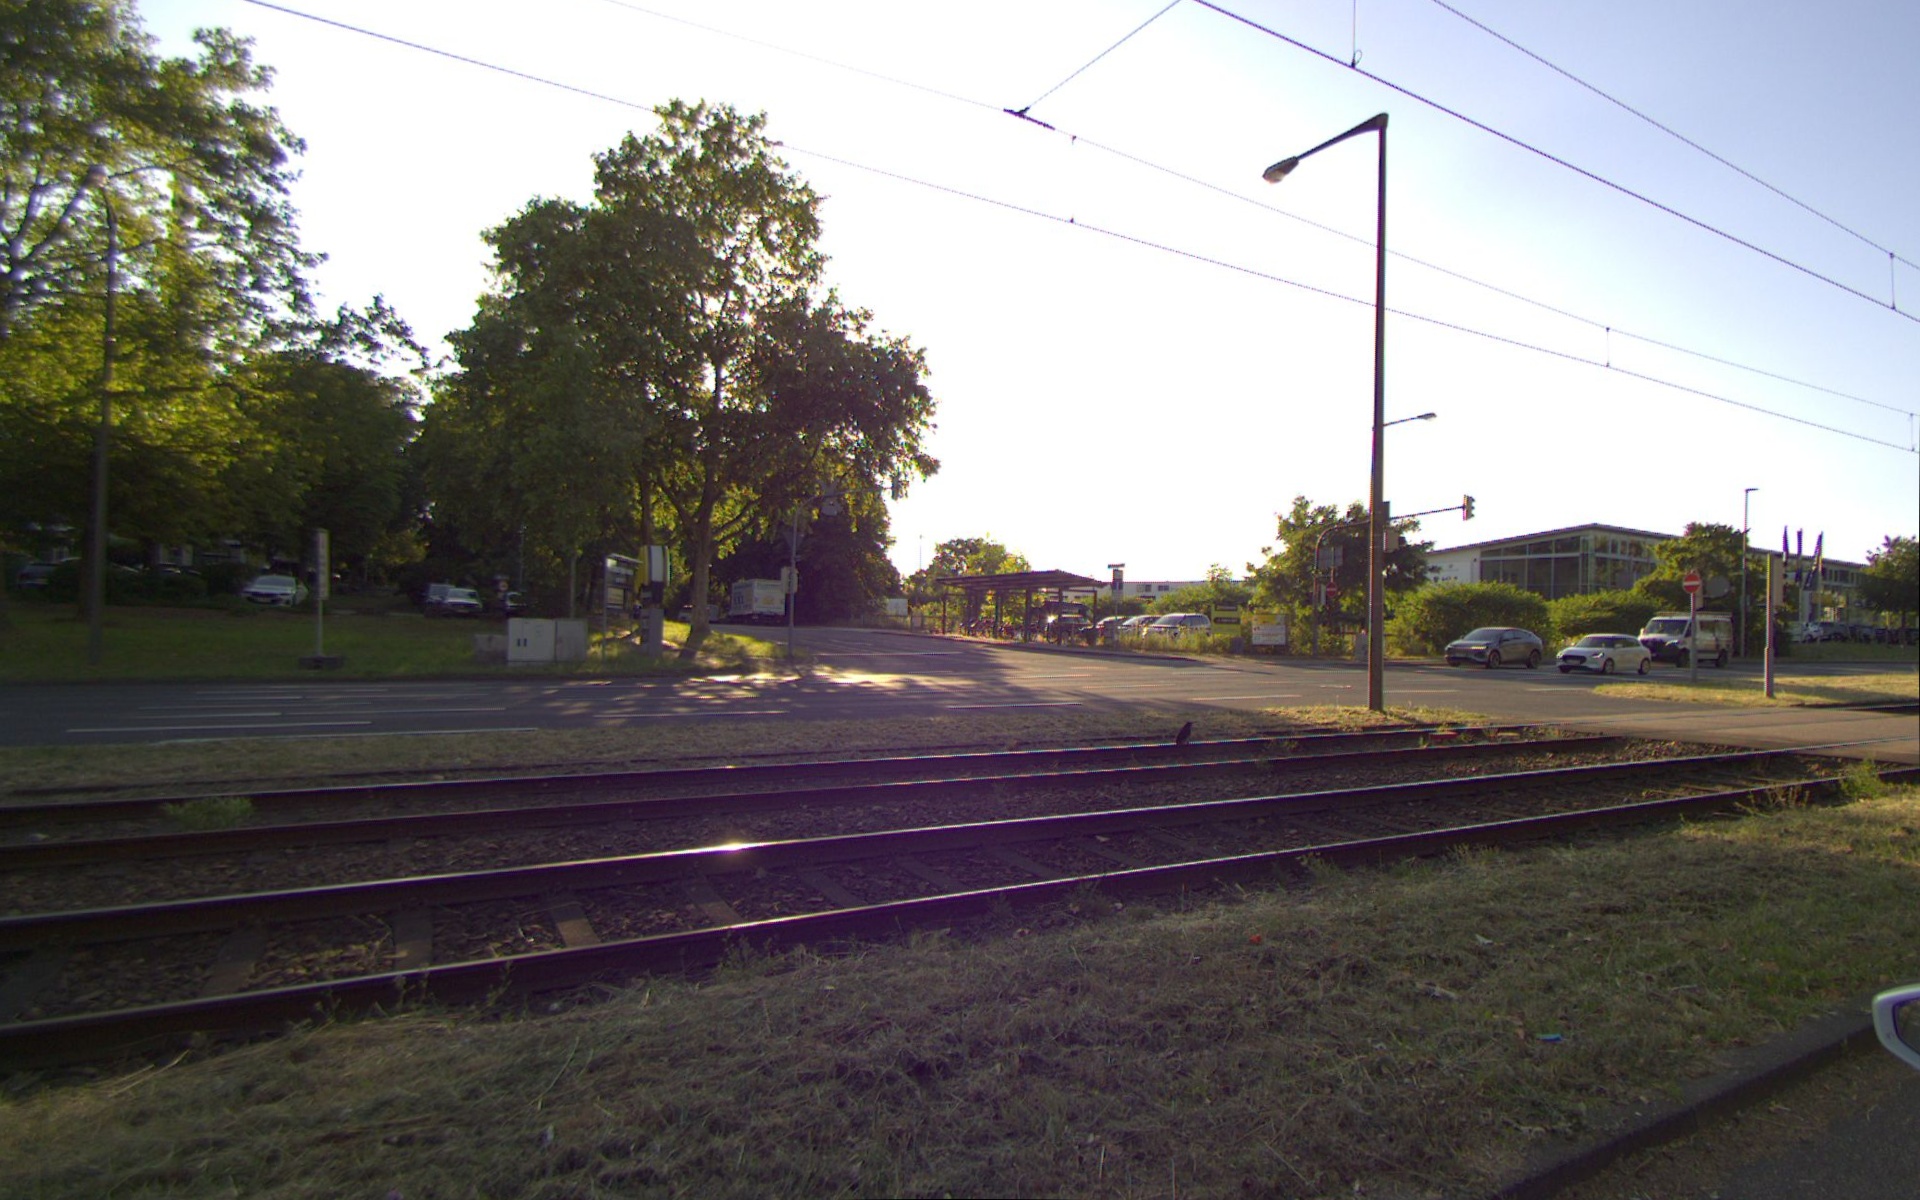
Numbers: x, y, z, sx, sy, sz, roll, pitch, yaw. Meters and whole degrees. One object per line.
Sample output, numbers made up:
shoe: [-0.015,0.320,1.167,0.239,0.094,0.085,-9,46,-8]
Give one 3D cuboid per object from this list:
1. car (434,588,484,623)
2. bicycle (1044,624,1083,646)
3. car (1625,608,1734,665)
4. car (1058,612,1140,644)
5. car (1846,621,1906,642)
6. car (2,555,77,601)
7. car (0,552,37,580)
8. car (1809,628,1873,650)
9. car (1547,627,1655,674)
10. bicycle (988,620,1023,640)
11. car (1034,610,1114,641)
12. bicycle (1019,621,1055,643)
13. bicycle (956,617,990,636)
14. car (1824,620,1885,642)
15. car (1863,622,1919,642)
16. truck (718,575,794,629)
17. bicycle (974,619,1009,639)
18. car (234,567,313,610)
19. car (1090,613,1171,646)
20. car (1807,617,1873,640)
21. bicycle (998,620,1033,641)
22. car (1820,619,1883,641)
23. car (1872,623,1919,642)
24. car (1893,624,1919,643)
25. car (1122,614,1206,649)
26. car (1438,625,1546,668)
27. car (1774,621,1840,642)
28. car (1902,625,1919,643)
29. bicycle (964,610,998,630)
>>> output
car: [-24.285,0.253,48.632,2.019,1.595,4.369,2,0,-28]
bicycle: [5.034,1.705,48.787,1.870,1.052,0.540,2,0,-29]
car: [35.154,1.791,49.037,5.805,2.600,1.994,2,0,-29]
car: [7.967,1.624,57.500,4.271,1.670,2.103,2,0,-31]
car: [78.664,2.704,86.322,3.745,1.588,1.750,2,0,42]
car: [-37.519,-0.882,41.038,1.811,1.710,4.180,2,0,-37]
car: [-56.565,-2.035,58.544,1.782,1.572,3.977,1,-1,43]
car: [69.493,3.056,79.268,3.745,1.588,1.750,2,0,42]
car: [24.416,1.908,38.260,3.953,1.639,1.861,2,0,-30]
bicycle: [2.462,1.628,54.453,1.870,1.052,0.540,2,0,-29]
car: [6.723,1.528,59.359,4.271,1.670,2.103,2,0,-31]
bicycle: [3.958,1.654,51.579,1.870,1.052,0.540,2,0,-29]
bicycle: [0.754,1.536,58.246,1.868,1.052,0.541,2,0,-25]
car: [74.086,2.562,83.259,3.745,1.588,1.750,2,0,42]
car: [81.595,2.827,87.936,3.745,1.588,1.750,2,0,42]
truck: [-16.515,0.113,80.472,3.153,3.927,11.024,2,0,-26]
bicycle: [1.763,1.599,55.865,1.868,1.052,0.541,2,0,-25]
car: [-30.614,-0.497,44.965,1.972,1.729,4.871,2,0,-24]
car: [9.396,1.616,55.226,3.954,1.670,2.103,2,0,-31]
car: [67.478,2.206,77.071,3.745,1.588,1.750,2,0,42]
bicycle: [2.968,1.630,53.726,1.870,1.052,0.540,2,0,-29]
car: [71.989,2.410,81.126,3.745,1.588,1.750,2,0,42]
car: [83.889,2.927,89.514,3.745,1.588,1.750,2,0,42]
car: [86.975,3.054,90.800,3.745,1.588,1.750,2,0,42]
car: [10.729,1.650,52.839,3.954,1.670,2.103,2,0,-31]
car: [22.079,1.949,41.628,4.495,1.639,1.861,2,0,-30]
car: [63.929,2.354,75.872,3.745,1.407,1.750,2,0,42]
car: [89.249,3.153,92.385,3.745,1.588,1.750,2,0,42]
bicycle: [1.188,1.137,56.954,1.868,1.052,0.541,2,0,-25]
